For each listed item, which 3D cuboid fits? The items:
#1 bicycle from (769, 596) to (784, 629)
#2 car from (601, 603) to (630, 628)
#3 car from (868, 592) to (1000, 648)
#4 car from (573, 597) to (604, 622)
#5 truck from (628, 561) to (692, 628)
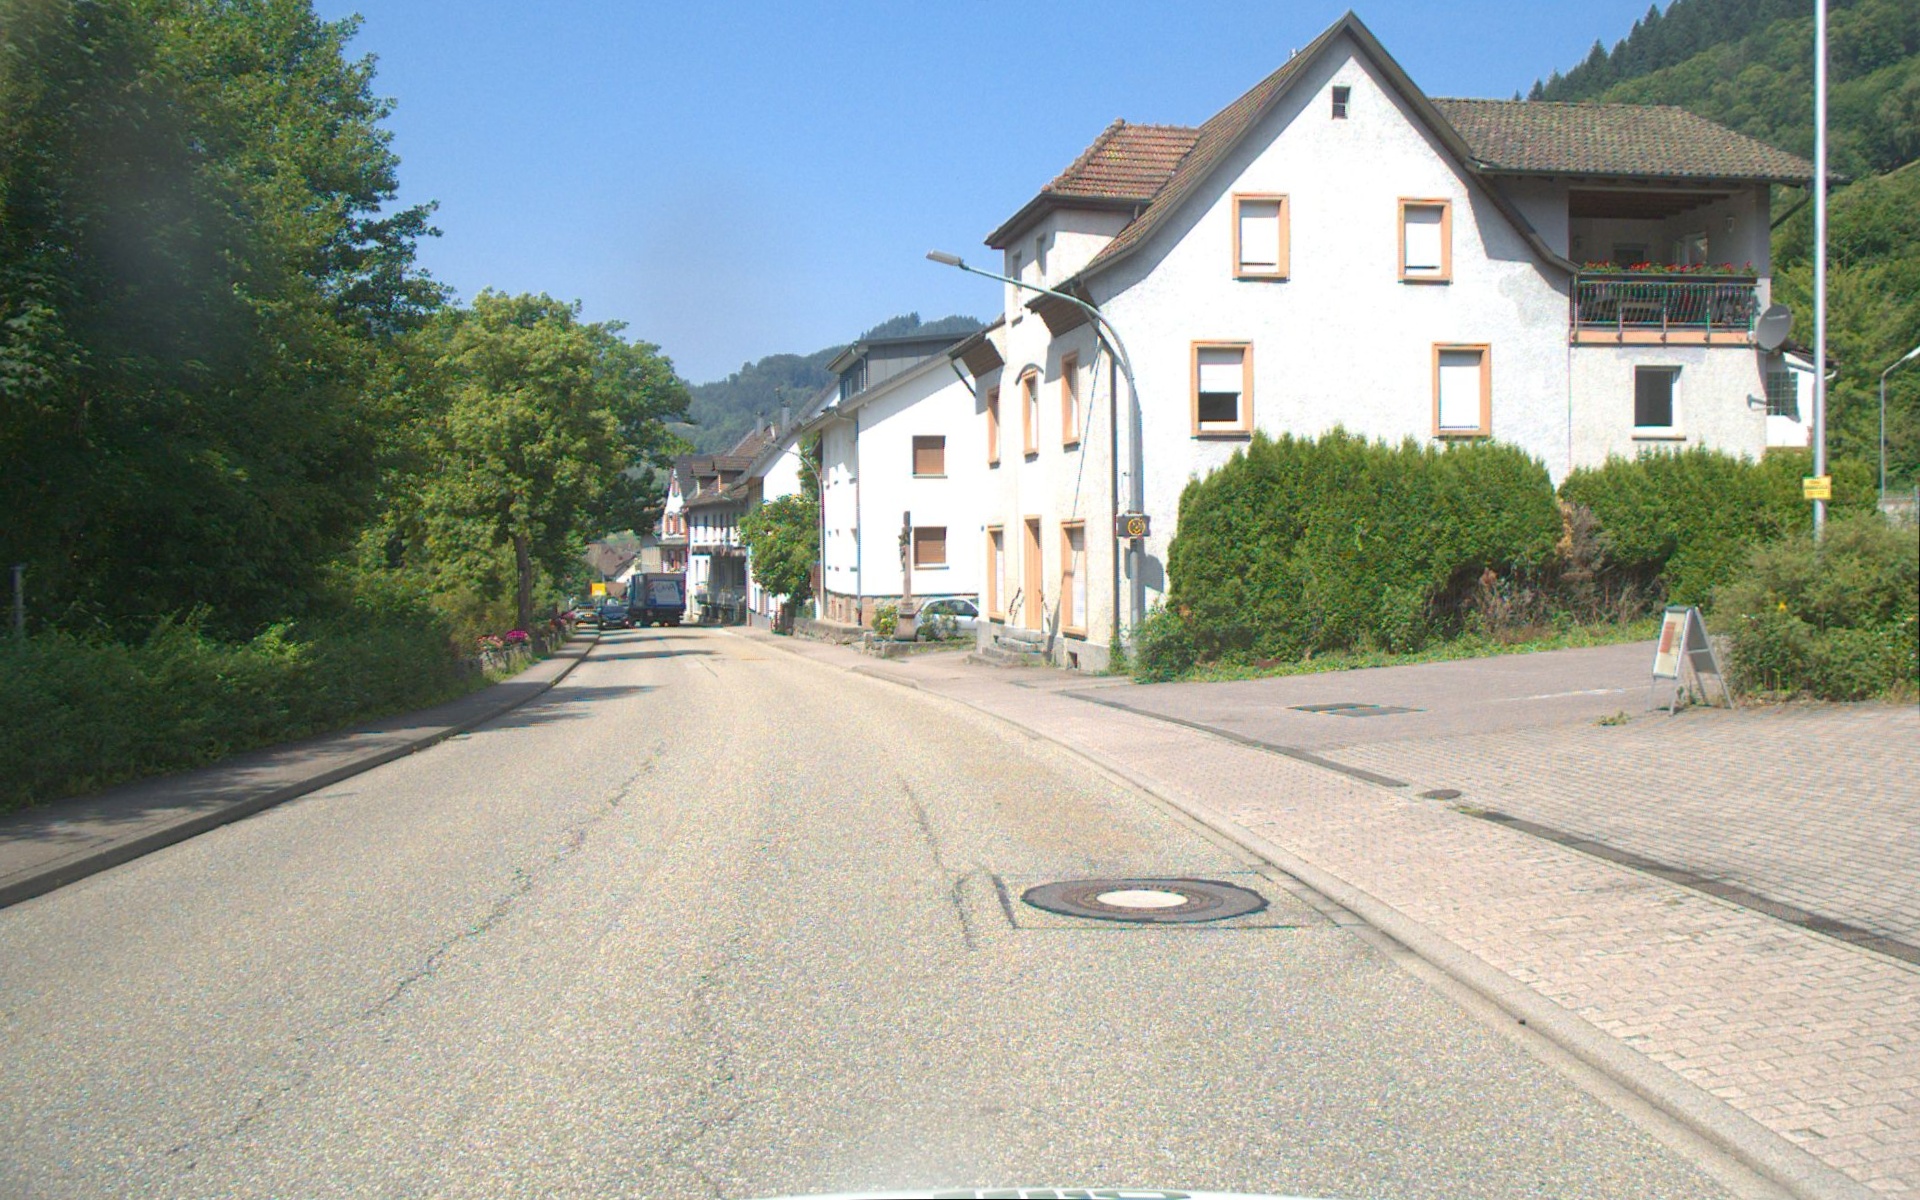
[{"bbox_3d":[-8.282,0.569,74.652,0.418,1.420,2.271,-4,1,-11],"label":"bicycle"},{"bbox_3d":[-21.507,0.938,103.417,1.637,1.442,4.075,-3,0,-11],"label":"car"},{"bbox_3d":[-0.798,0.625,50.283,3.698,1.452,1.605,-4,0,34],"label":"car"},{"bbox_3d":[-30.104,0.803,133.970,1.750,1.764,3.973,-5,-1,-22],"label":"car"},{"bbox_3d":[-20.036,-0.294,110.057,3.308,3.847,8.406,-5,-1,-15],"label":"truck"}]
